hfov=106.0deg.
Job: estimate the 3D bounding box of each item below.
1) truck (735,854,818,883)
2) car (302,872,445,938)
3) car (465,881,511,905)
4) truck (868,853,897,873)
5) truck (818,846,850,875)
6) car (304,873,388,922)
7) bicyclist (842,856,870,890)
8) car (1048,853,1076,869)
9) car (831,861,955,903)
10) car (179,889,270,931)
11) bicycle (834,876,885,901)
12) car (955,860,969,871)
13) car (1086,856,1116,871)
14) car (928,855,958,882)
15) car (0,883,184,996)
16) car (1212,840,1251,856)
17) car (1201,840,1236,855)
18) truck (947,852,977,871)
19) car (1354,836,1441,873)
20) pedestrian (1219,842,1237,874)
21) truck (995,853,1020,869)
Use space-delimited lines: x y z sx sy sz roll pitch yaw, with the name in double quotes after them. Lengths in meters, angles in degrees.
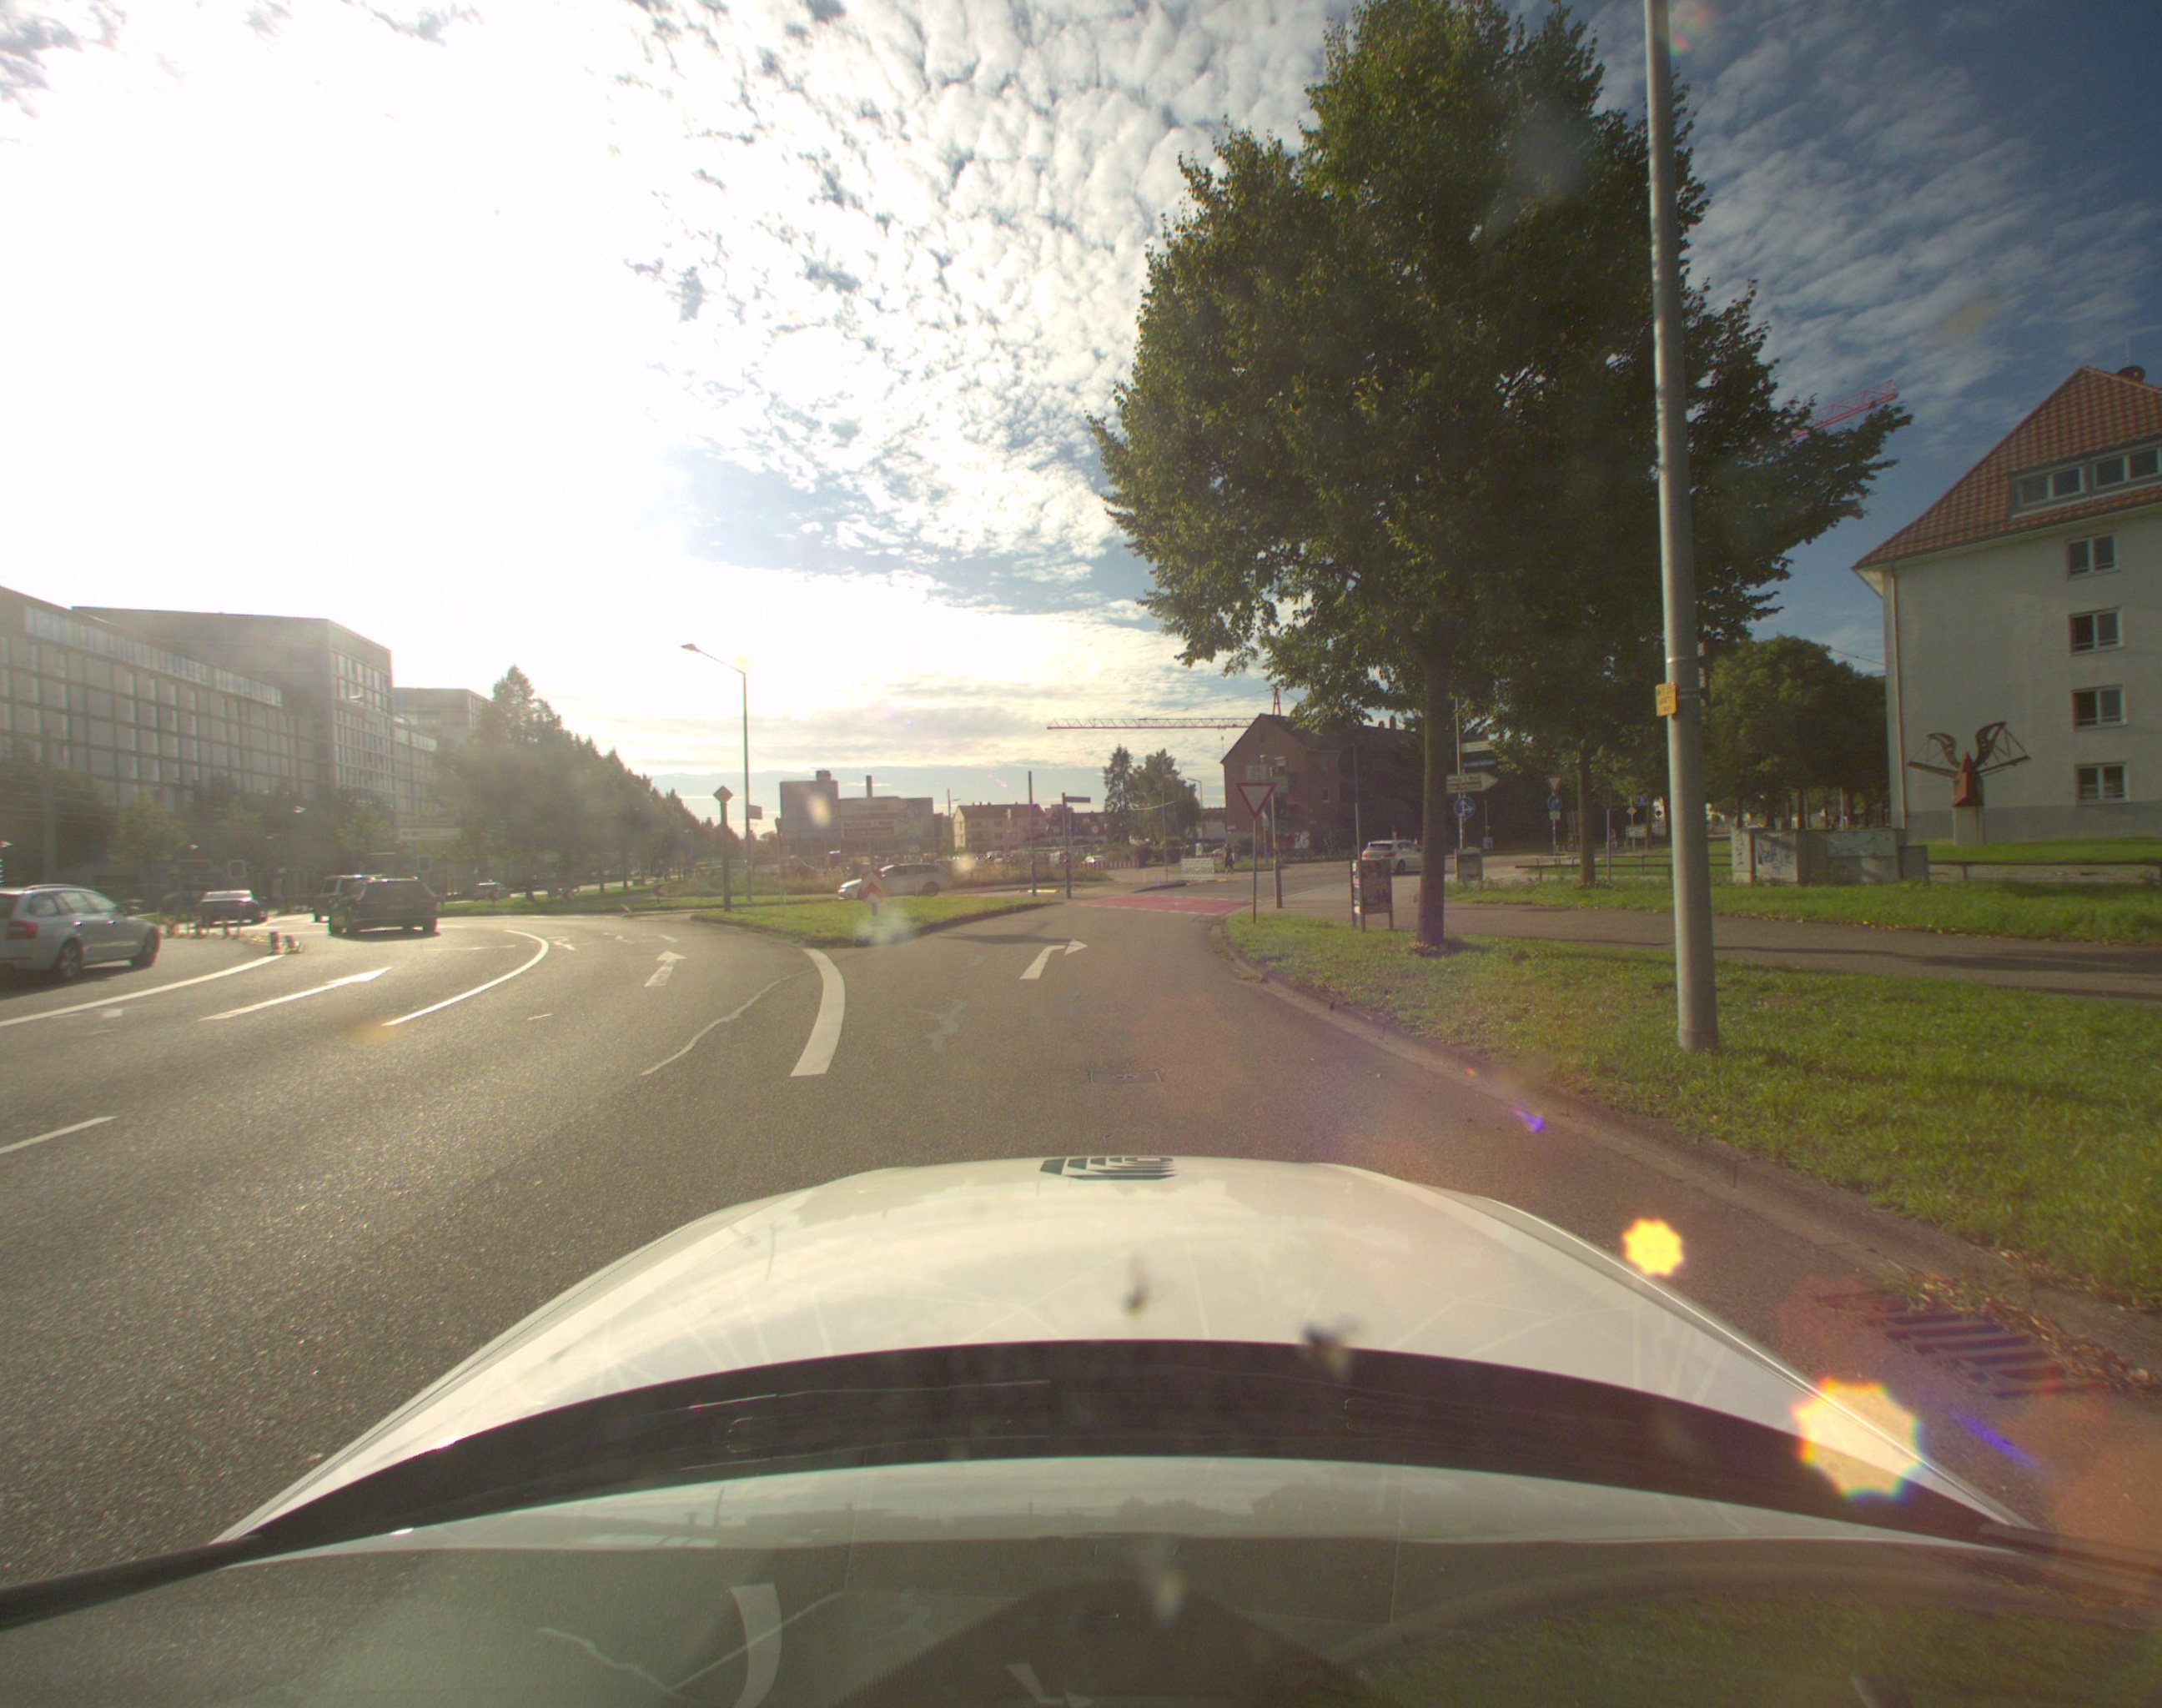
-31.359 1.432 84.115 7.863 2.567 3.053 -2 0 -21 "truck"
-19.340 1.364 22.184 4.781 1.567 2.013 -3 -2 37 "car"
-47.356 3.074 65.127 1.904 1.610 4.626 -2 0 -22 "car"
-24.561 1.100 100.563 2.338 2.328 6.402 -2 0 -24 "truck"
-29.788 0.765 97.969 2.820 3.207 7.258 -2 0 -24 "truck"
-32.276 1.853 35.736 4.600 1.903 1.914 -1 1 38 "car"
-10.558 0.875 38.233 1.000 1.511 0.708 -3 0 14 "bicyclist"
-2.262 0.840 96.274 1.887 1.816 3.970 -2 0 -22 "car"
-7.659 1.098 33.253 4.556 1.452 1.806 -3 0 -30 "car"
-36.593 2.334 34.919 1.911 1.431 4.609 -2 1 -37 "car"
-10.375 1.634 38.216 2.181 1.063 0.708 -3 0 14 "bicycle"
-20.922 1.952 142.954 1.996 1.859 3.981 -2 0 -14 "car"
2.085 1.018 85.974 1.723 1.393 3.970 -2 0 -22 "car"
-10.076 1.018 59.852 1.877 1.816 3.991 -2 0 -6 "car"
-16.568 1.272 12.901 1.863 1.445 4.593 -2 0 -31 "car"
16.560 -0.649 89.525 3.955 1.618 1.781 -2 0 18 "car"
16.058 -0.724 95.456 3.965 1.618 1.777 -2 0 7 "car"
-15.263 0.955 104.181 2.296 2.328 5.594 -2 0 -24 "truck"
14.880 0.015 38.180 4.477 1.572 1.835 -2 1 -39 "car"
8.615 0.225 47.634 0.660 1.870 0.841 -2 0 35 "pedestrian"
-10.513 1.042 115.595 1.982 2.171 5.365 -2 0 -22 "truck"
